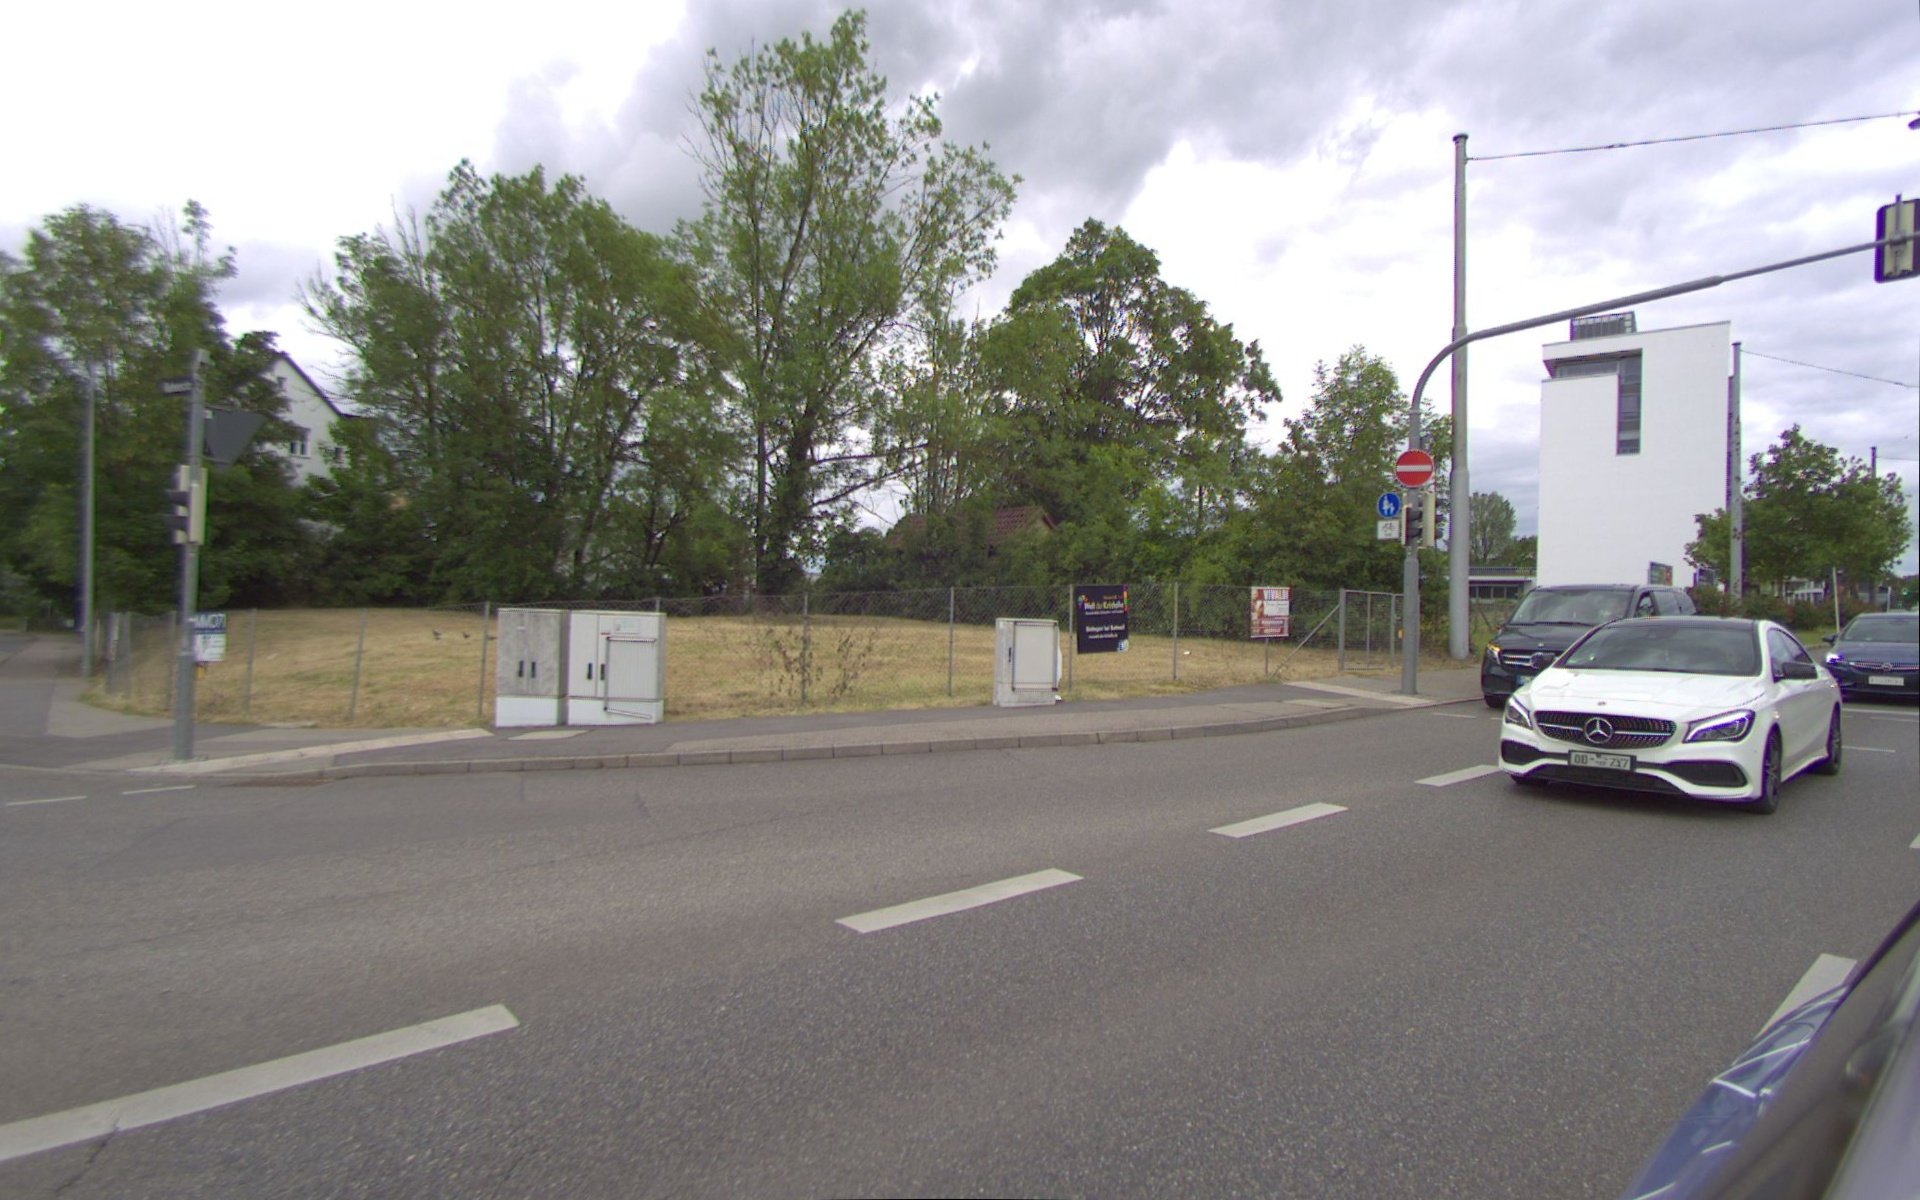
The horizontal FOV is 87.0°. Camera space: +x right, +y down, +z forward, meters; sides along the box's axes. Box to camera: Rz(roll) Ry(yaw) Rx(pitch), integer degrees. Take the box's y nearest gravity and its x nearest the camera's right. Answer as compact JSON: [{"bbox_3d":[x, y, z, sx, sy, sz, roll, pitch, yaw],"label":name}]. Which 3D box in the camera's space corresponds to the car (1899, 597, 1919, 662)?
[{"bbox_3d":[24.451,0.697,24.684,4.235,1.491,1.797,0,1,-41],"label":"car"}]

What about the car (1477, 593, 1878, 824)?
[{"bbox_3d":[6.439,0.699,8.850,4.617,1.491,1.797,0,1,-41],"label":"car"}]

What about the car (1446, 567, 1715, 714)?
[{"bbox_3d":[9.568,0.496,15.452,4.787,1.911,2.015,0,1,-39],"label":"car"}]

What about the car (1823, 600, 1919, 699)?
[{"bbox_3d":[15.994,0.747,16.893,4.234,1.491,1.797,0,0,-41],"label":"car"}]
